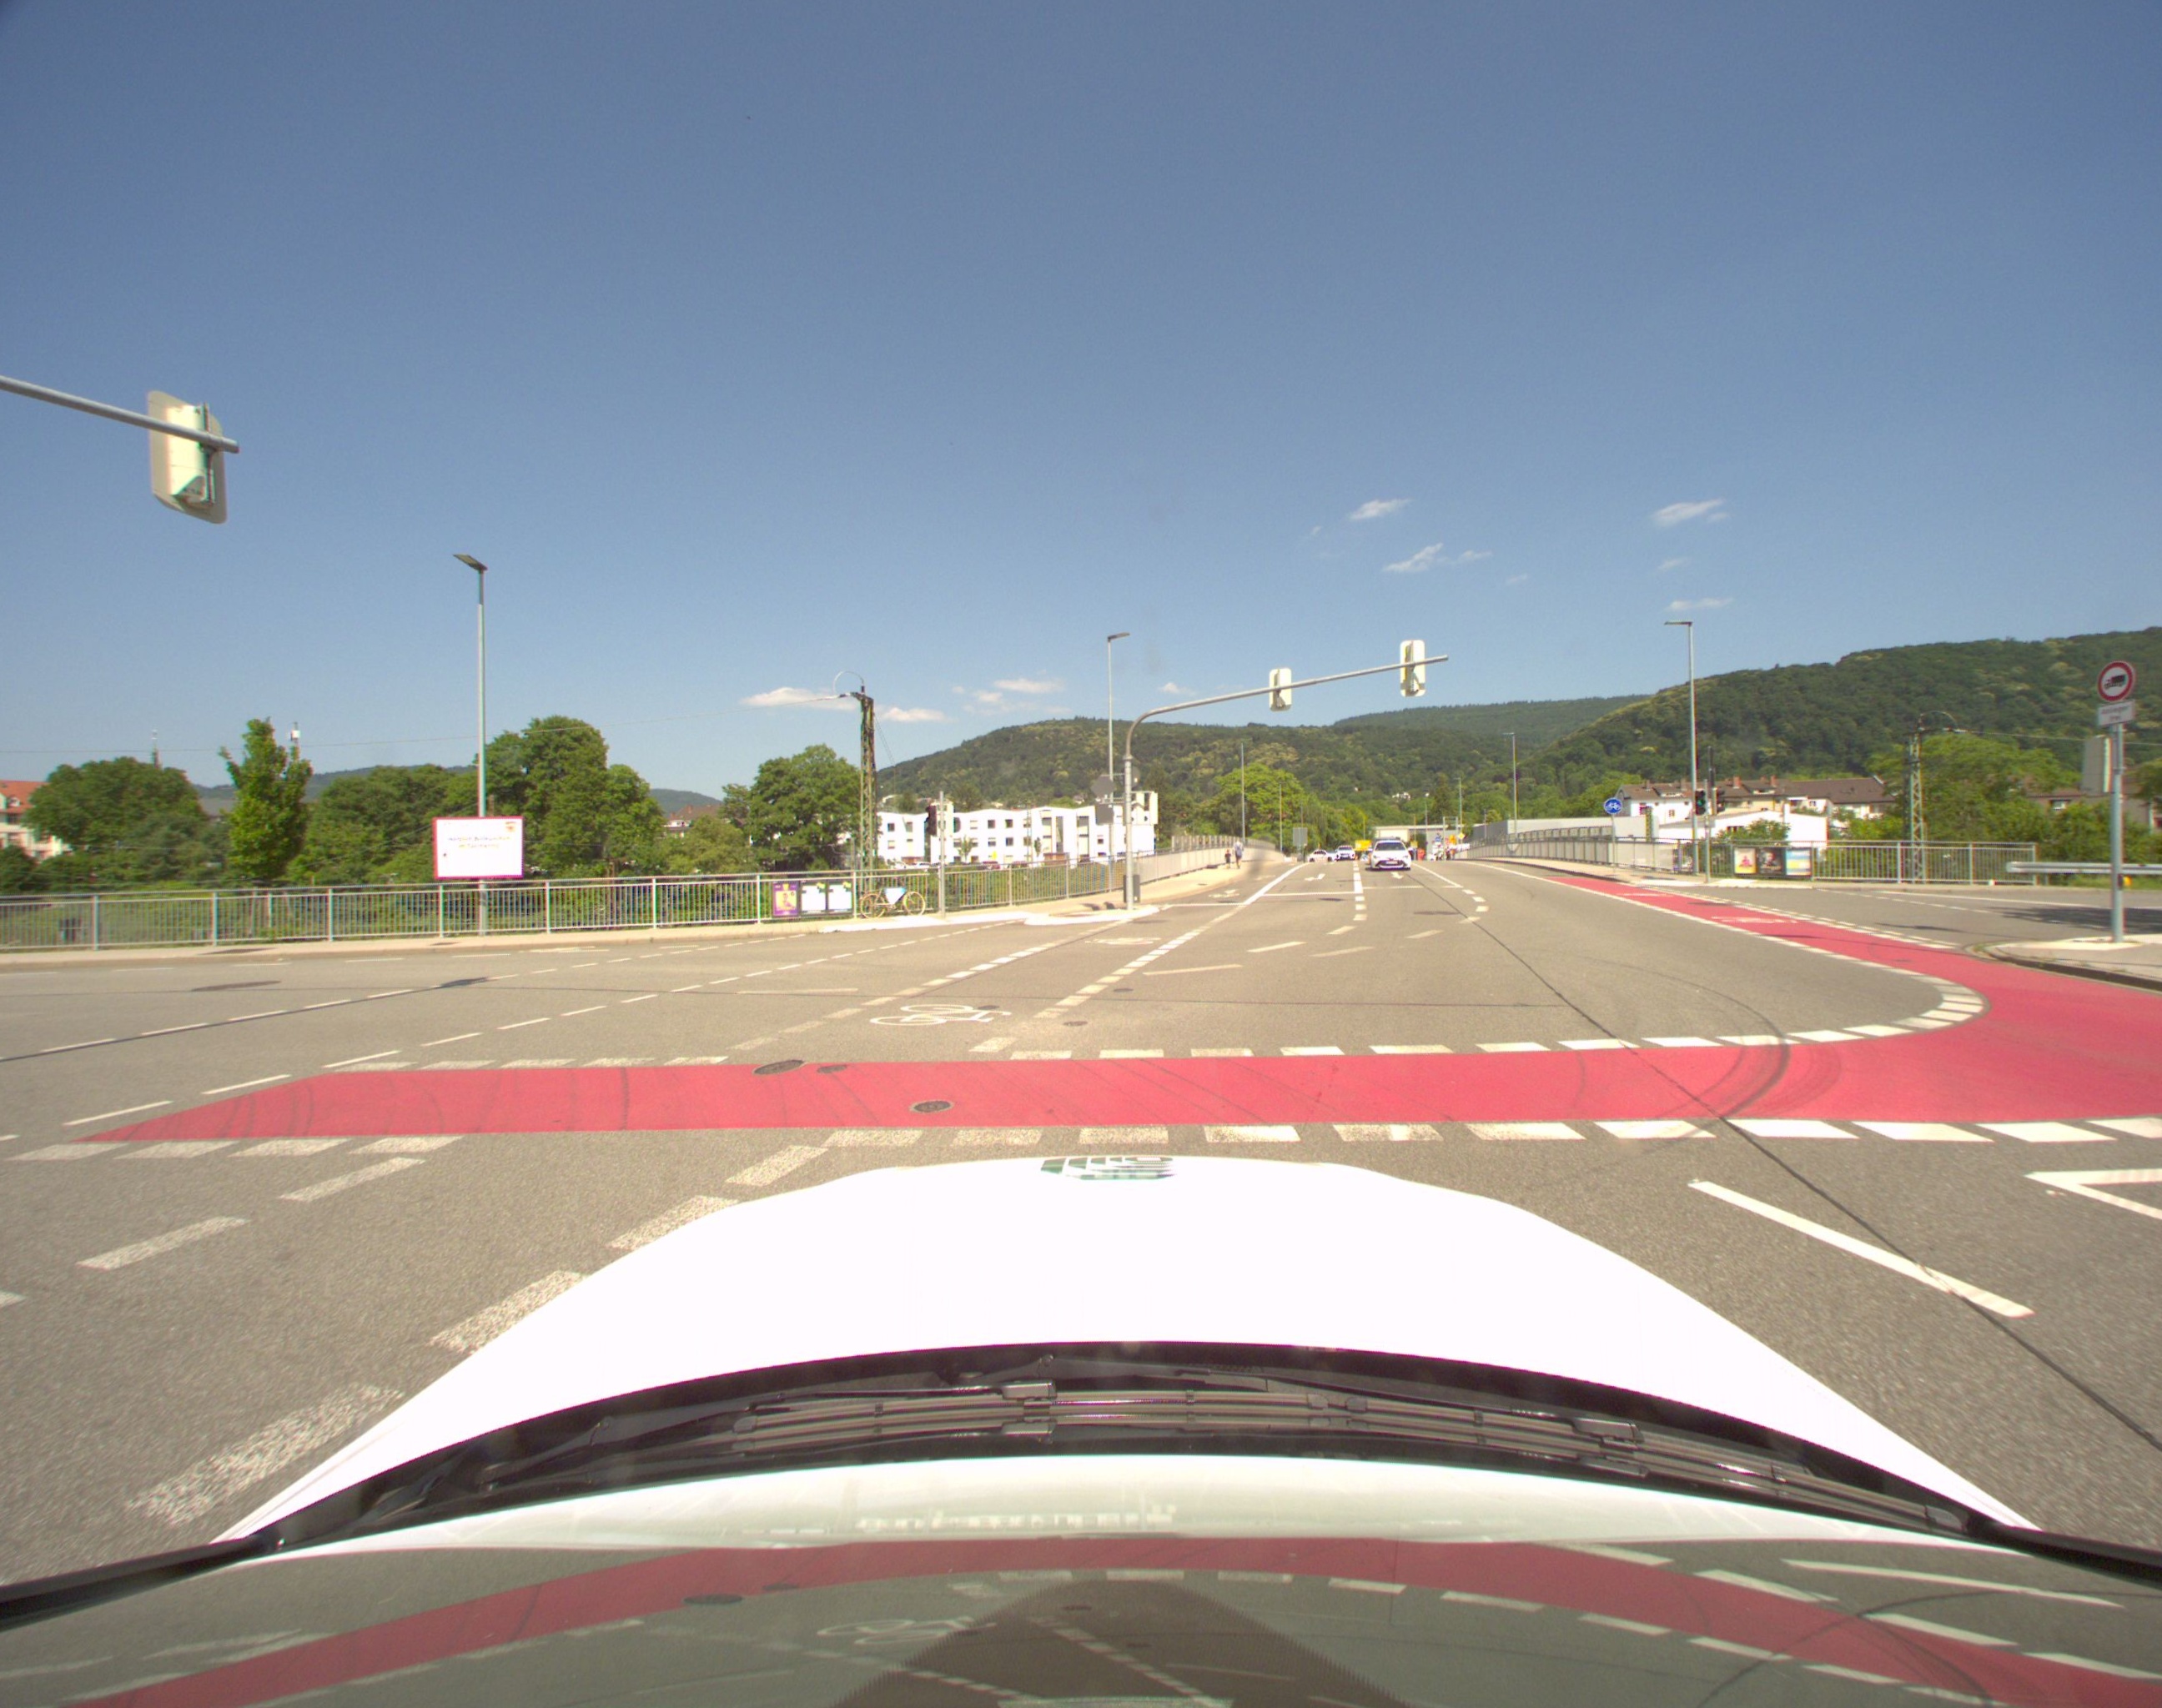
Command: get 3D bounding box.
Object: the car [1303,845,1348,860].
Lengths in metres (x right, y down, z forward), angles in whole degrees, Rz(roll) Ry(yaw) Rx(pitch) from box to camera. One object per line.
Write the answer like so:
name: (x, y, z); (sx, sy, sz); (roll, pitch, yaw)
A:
car: (28.630, -0.127, 95.408); (2.007, 1.719, 5.012); (-1, 0, -31)

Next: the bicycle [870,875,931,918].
bicycle: (-5.000, 1.174, 22.581); (1.626, 1.100, 0.295); (-1, 0, -33)

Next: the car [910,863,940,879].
car: (-20.762, 2.205, 108.453); (1.978, 2.013, 4.490); (-1, 0, 16)

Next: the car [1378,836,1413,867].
car: (17.717, -0.171, 46.040); (1.717, 1.626, 4.464); (-1, 0, 19)

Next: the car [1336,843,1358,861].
car: (26.858, -0.176, 82.311); (1.978, 1.719, 4.654); (-1, 0, 17)

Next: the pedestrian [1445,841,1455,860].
pedestrian: (41.128, -0.407, 90.883); (0.848, 2.013, 1.161); (-1, 0, 18)

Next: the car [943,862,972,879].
car: (-15.934, 2.112, 105.251); (1.978, 2.013, 4.490); (-1, 0, 16)

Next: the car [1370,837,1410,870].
car: (14.971, -0.043, 39.610); (1.717, 1.469, 4.432); (-1, 0, 19)

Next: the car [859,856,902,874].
car: (-25.315, 1.334, 102.996); (4.960, 2.112, 1.999); (-1, 0, -1)

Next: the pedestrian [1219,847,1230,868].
pedestrian: (7.747, 0.209, 43.846); (0.507, 1.121, 0.478); (-1, 0, 18)

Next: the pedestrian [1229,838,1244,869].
pedestrian: (8.359, -0.039, 43.828); (0.638, 1.617, 0.925); (-1, 0, 18)

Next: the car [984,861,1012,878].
car: (-10.583, 2.004, 103.799); (1.978, 2.013, 4.490); (-1, 0, 16)
